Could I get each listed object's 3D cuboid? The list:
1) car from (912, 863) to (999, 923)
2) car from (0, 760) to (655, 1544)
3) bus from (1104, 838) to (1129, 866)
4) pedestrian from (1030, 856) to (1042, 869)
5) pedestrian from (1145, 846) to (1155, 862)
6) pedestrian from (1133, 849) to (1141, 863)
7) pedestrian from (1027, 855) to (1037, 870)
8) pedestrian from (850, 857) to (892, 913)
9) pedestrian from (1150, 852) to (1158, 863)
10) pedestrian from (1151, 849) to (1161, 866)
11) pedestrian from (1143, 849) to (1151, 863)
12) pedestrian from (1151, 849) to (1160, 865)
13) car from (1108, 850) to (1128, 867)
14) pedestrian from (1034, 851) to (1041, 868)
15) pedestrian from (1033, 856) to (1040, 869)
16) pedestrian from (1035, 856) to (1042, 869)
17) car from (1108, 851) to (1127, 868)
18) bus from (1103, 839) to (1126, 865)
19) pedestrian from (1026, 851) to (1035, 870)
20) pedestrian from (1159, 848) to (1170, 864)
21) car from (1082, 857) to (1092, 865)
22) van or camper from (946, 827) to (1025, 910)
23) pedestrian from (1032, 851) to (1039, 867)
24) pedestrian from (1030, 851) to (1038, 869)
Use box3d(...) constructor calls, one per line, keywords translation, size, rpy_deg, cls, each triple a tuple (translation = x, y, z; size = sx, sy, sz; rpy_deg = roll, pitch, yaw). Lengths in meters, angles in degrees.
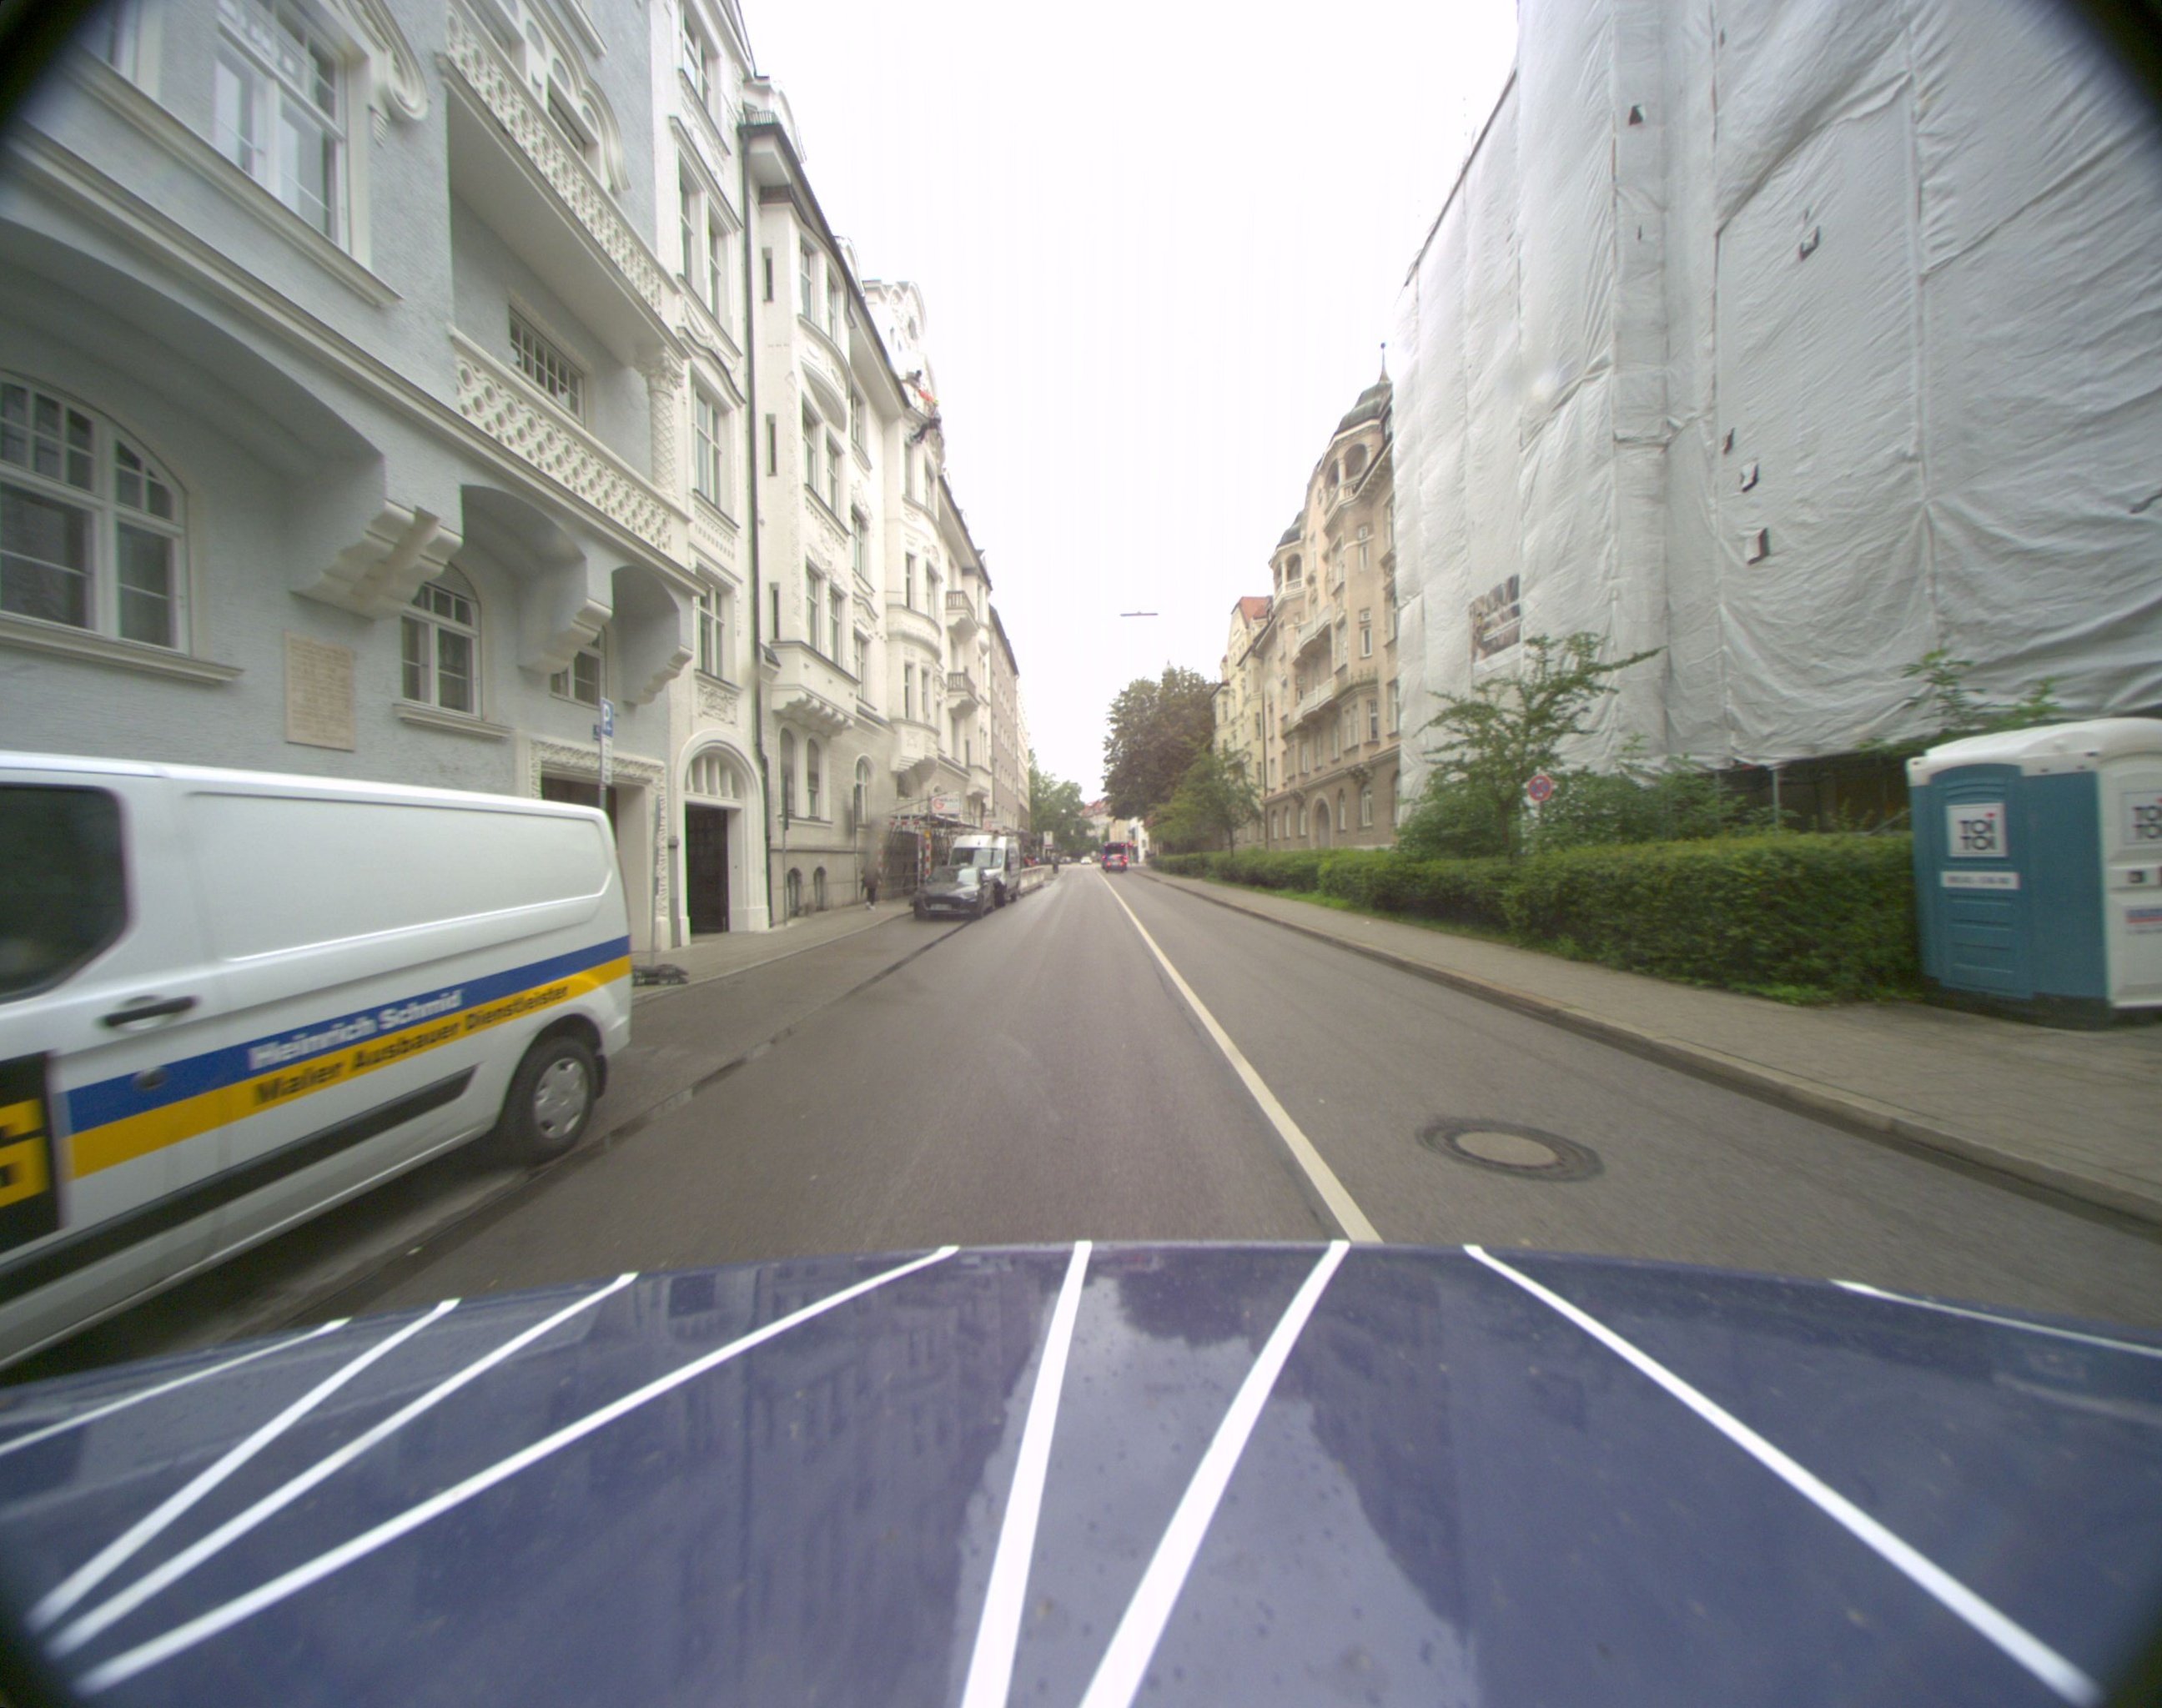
box3d(translation=(-3.412, 1.027, 21.392), size=(1.758, 1.426, 4.087), rpy_deg=(-1, 0, 0), cls="car")
box3d(translation=(-3.758, 0.774, 2.444), size=(1.964, 2.002, 4.992), rpy_deg=(-1, 0, -1), cls="car")
box3d(translation=(3.943, -0.218, 86.895), size=(2.586, 3.083, 8.923), rpy_deg=(-1, 0, 1), cls="bus")
box3d(translation=(-4.405, 0.833, 74.086), size=(1.099, 1.230, 0.668), rpy_deg=(-1, 1, 1), cls="pedestrian")
box3d(translation=(8.918, 0.023, 98.158), size=(0.832, 2.002, 0.778), rpy_deg=(-2, 1, -42), cls="pedestrian")
box3d(translation=(8.188, 0.306, 111.766), size=(0.952, 2.002, 1.397), rpy_deg=(-1, 1, 11), cls="pedestrian")
box3d(translation=(-4.622, 0.797, 72.391), size=(0.862, 1.344, 0.862), rpy_deg=(-1, 1, 1), cls="pedestrian")
box3d(translation=(-6.056, 0.883, 21.922), size=(0.923, 1.546, 1.016), rpy_deg=(1, 2, 1), cls="pedestrian")
box3d(translation=(8.642, 0.405, 90.414), size=(0.830, 1.333, 0.754), rpy_deg=(-1, 1, -2), cls="pedestrian")
box3d(translation=(7.895, 0.337, 79.990), size=(0.910, 1.735, 0.847), rpy_deg=(-1, 1, 0), cls="pedestrian")
box3d(translation=(9.691, 0.242, 111.886), size=(0.952, 2.002, 1.397), rpy_deg=(-1, 1, 11), cls="pedestrian")
box3d(translation=(8.000, 0.312, 81.738), size=(0.875, 1.735, 0.910), rpy_deg=(-1, 1, 0), cls="pedestrian")
box3d(translation=(3.731, 0.448, 76.921), size=(1.772, 1.635, 4.273), rpy_deg=(-1, 0, 0), cls="car")
box3d(translation=(-4.567, 0.600, 79.506), size=(0.659, 1.723, 0.696), rpy_deg=(-1, 1, 1), cls="pedestrian")
box3d(translation=(-4.452, 0.838, 75.631), size=(0.681, 1.230, 0.495), rpy_deg=(-1, 1, 1), cls="pedestrian")
box3d(translation=(-4.202, 0.847, 75.125), size=(0.709, 1.230, 0.585), rpy_deg=(-1, 1, 1), cls="pedestrian")
box3d(translation=(3.334, 0.495, 70.227), size=(1.588, 1.470, 3.782), rpy_deg=(-1, 0, 0), cls="car")
box3d(translation=(4.136, -0.307, 95.863), size=(2.586, 3.083, 9.108), rpy_deg=(-1, 0, 1), cls="bus")
box3d(translation=(-4.659, 0.612, 69.710), size=(0.704, 1.723, 0.746), rpy_deg=(-1, 1, 1), cls="pedestrian")
box3d(translation=(8.985, 0.243, 81.862), size=(0.784, 1.735, 0.877), rpy_deg=(-1, 1, 32), cls="pedestrian")
box3d(translation=(1.094, 1.345, 148.027), size=(1.927, 1.608, 3.999), rpy_deg=(-2, 0, 0), cls="car")
box3d(translation=(-3.297, 0.455, 27.344), size=(1.958, 2.621, 5.458), rpy_deg=(-1, 0, 1), cls="van or camper")
box3d(translation=(-4.908, 0.544, 82.590), size=(0.659, 1.812, 0.696), rpy_deg=(-1, 1, 1), cls="pedestrian")
box3d(translation=(-4.716, 0.597, 76.201), size=(0.659, 1.723, 0.684), rpy_deg=(-1, 1, 1), cls="pedestrian")
